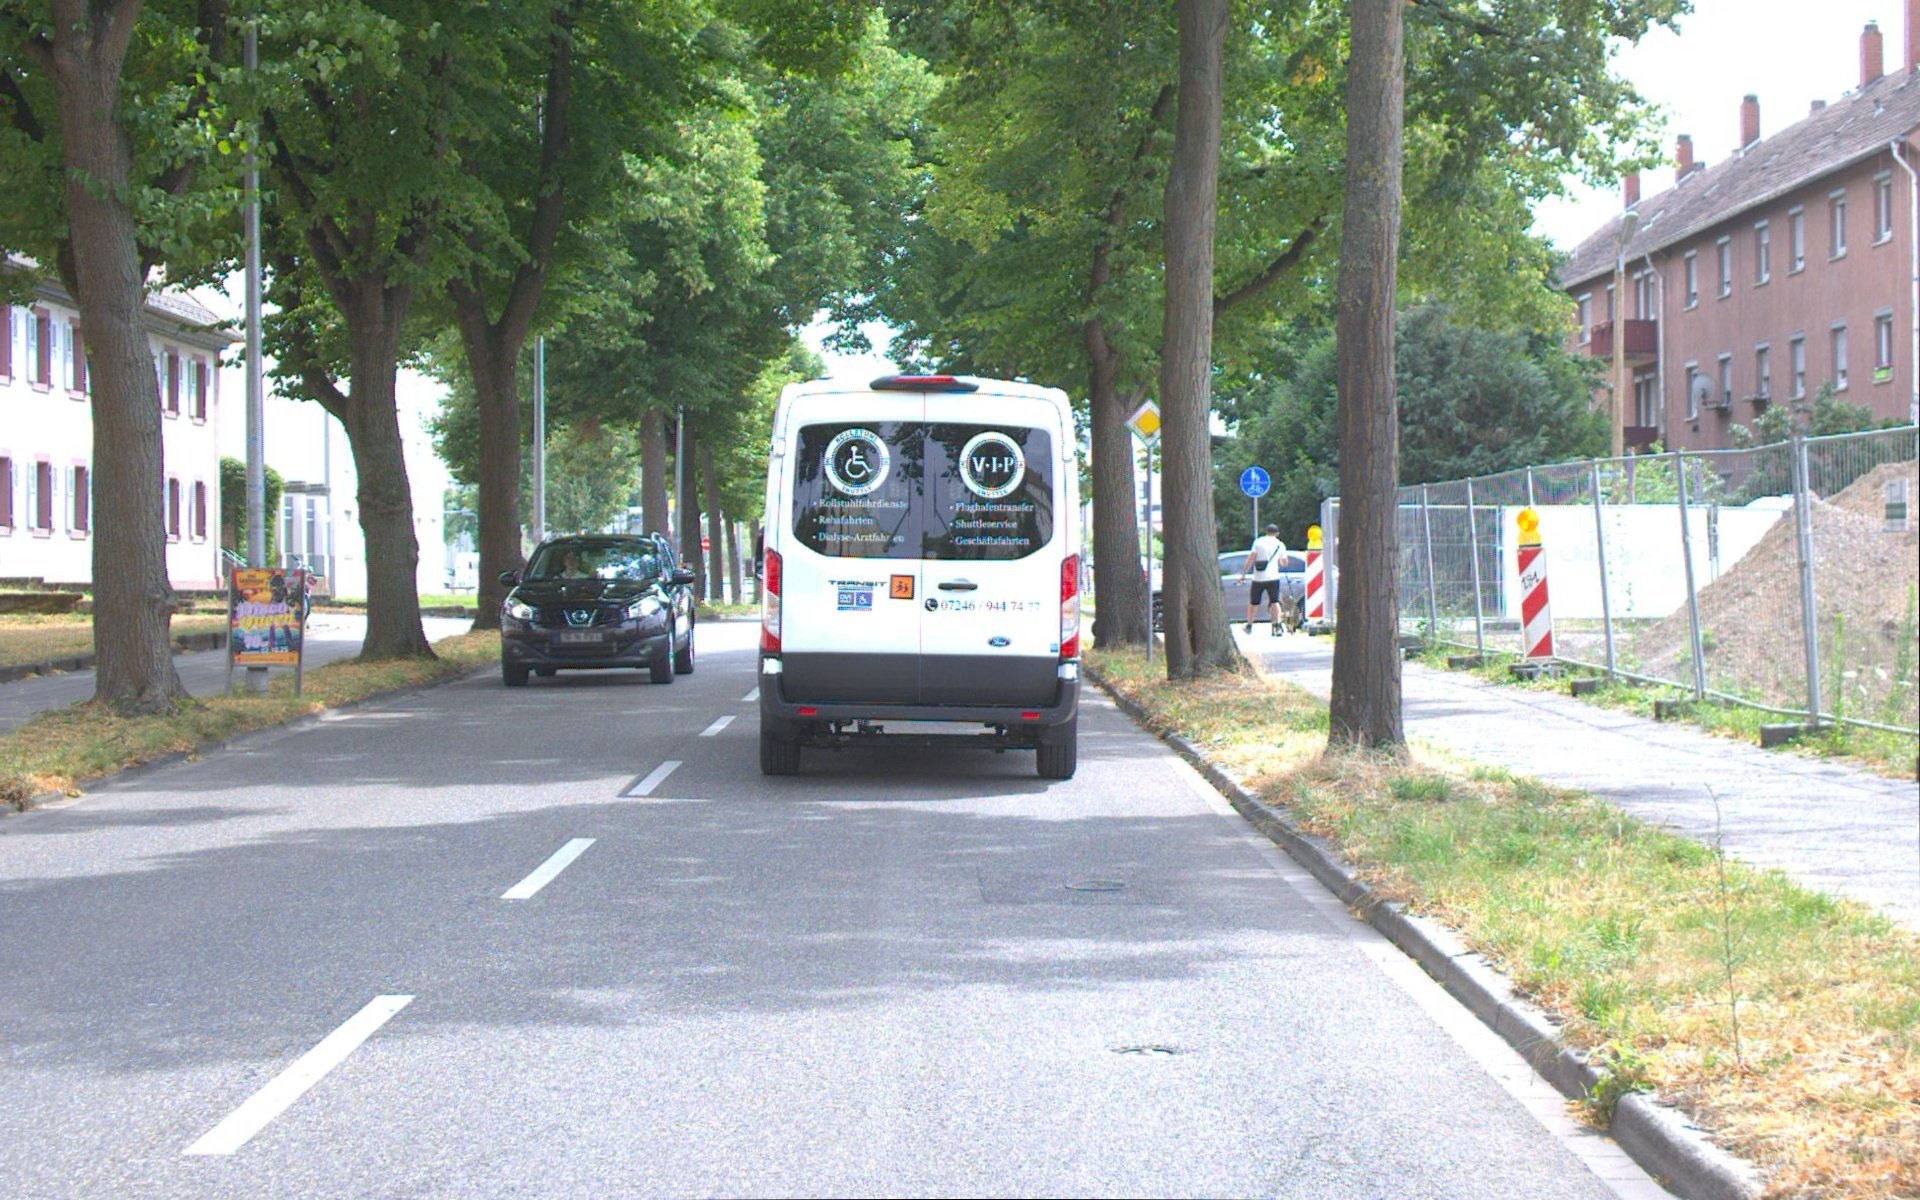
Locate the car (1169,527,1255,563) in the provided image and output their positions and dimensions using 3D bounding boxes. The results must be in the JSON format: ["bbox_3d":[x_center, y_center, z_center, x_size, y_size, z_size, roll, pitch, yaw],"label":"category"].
[{"bbox_3d":[14.072,-3.070,191.696,4.400,1.810,2.012,-2,0,16],"label":"car"}]

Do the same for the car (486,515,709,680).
[{"bbox_3d":[-3.861,-0.079,37.257,1.772,1.653,4.257,0,2,2],"label":"car"}]

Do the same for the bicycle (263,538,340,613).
[{"bbox_3d":[-10.191,-0.394,53.275,0.722,1.091,2.225,4,1,-1],"label":"bicycle"}]

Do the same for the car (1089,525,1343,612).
[{"bbox_3d":[4.492,-0.544,60.814,4.371,1.438,2.011,-1,-1,1],"label":"car"}]

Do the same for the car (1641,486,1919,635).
[{"bbox_3d":[15.581,-0.752,63.717,5.473,2.623,2.336,-1,3,2],"label":"car"}]

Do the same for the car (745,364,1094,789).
[{"bbox_3d":[-0.364,-0.181,22.624,2.062,2.531,4.001,1,1,-4],"label":"car"}]

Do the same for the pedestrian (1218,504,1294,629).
[{"bbox_3d":[4.353,-0.493,50.523,0.883,1.808,0.888,-2,0,19],"label":"pedestrian"}]
